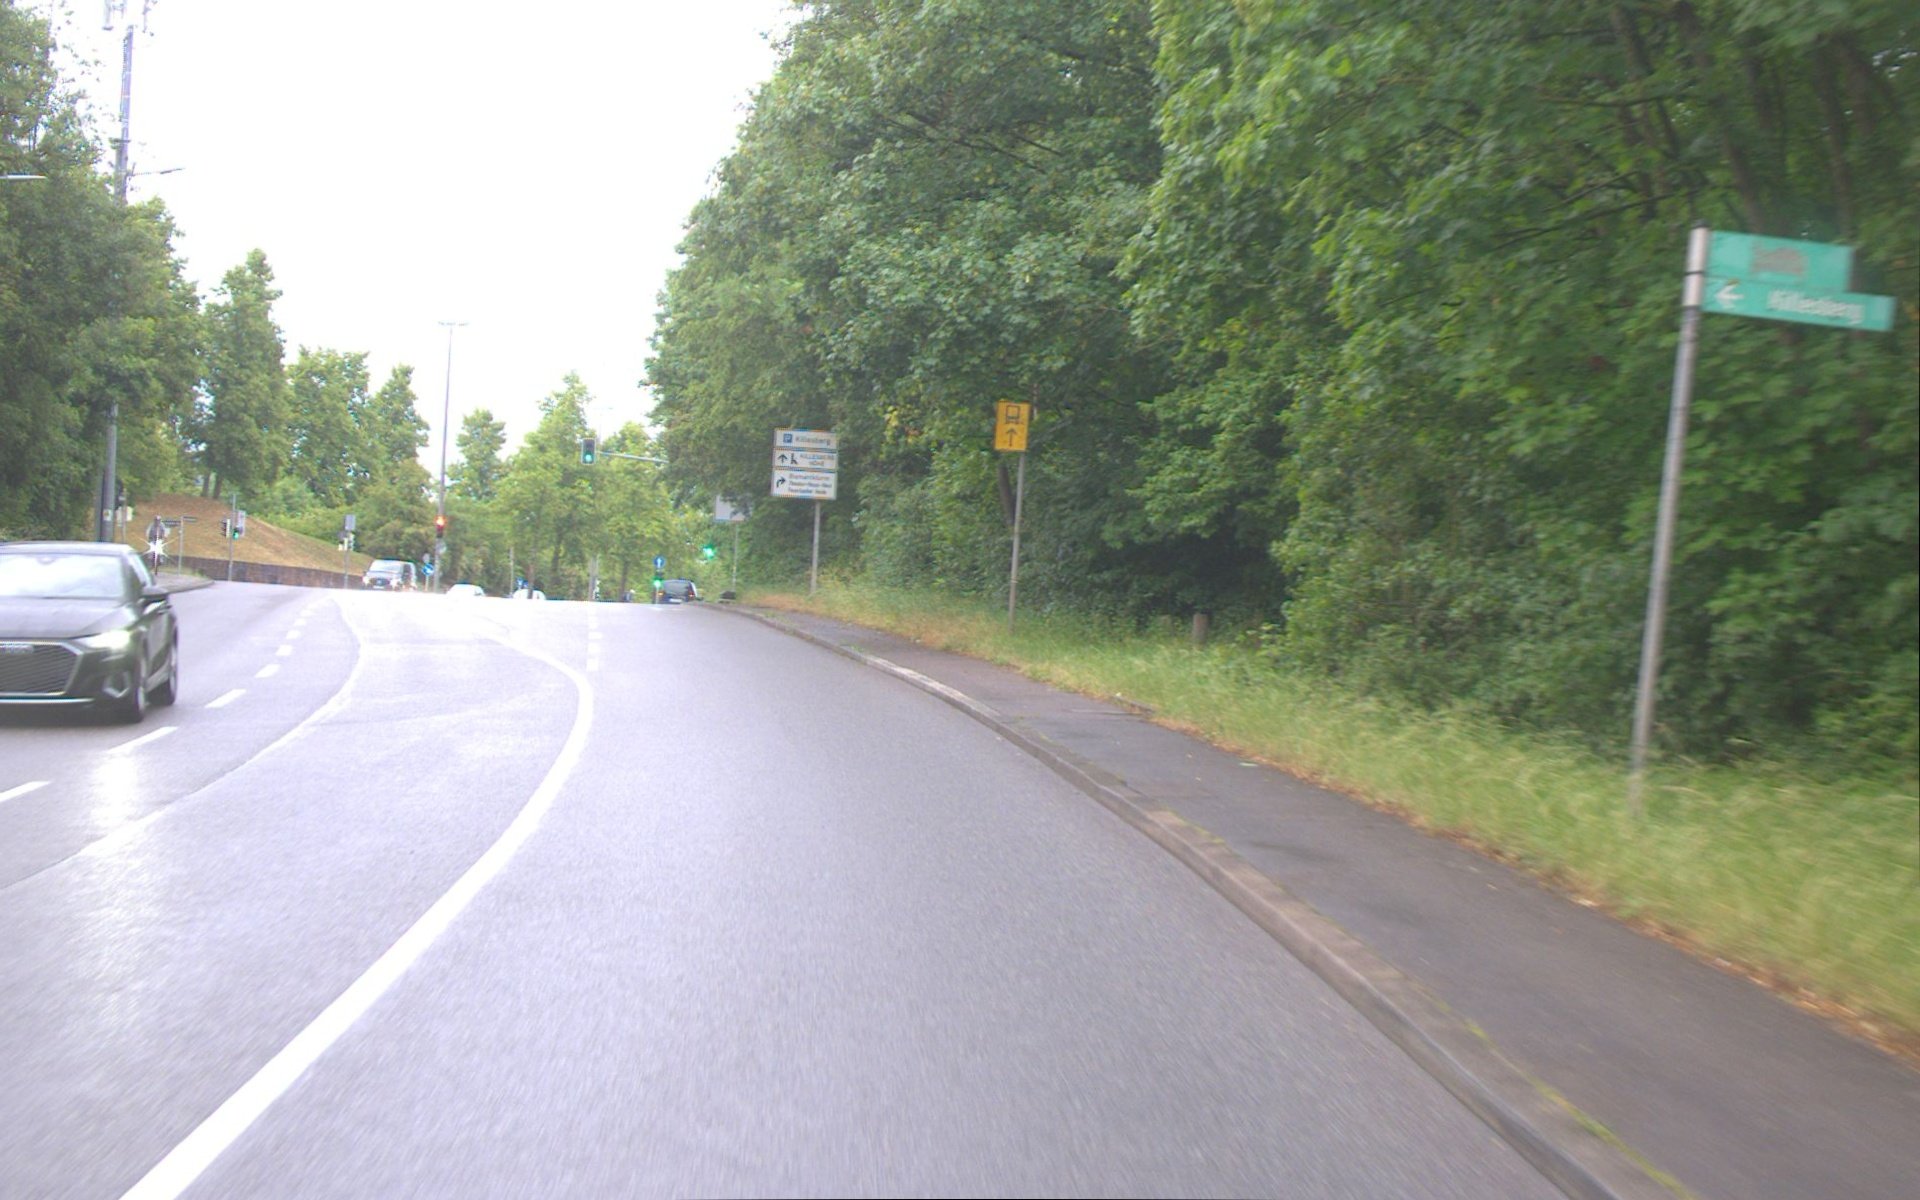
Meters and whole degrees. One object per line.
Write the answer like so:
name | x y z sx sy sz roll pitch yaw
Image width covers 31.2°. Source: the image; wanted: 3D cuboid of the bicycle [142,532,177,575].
bicycle | -23.624 -1.373 101.465 0.704 1.238 2.165 1 1 -5

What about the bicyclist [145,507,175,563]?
bicyclist | -23.603 -1.928 101.462 0.704 1.639 0.951 1 1 -5

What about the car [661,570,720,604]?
car | -12.463 -0.609 159.352 1.935 1.493 4.317 1 1 6

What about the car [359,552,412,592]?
car | -27.549 -1.350 164.944 1.993 1.842 4.000 0 -1 -1

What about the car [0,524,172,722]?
car | -7.616 0.130 28.513 1.934 1.493 4.319 1 1 -11
